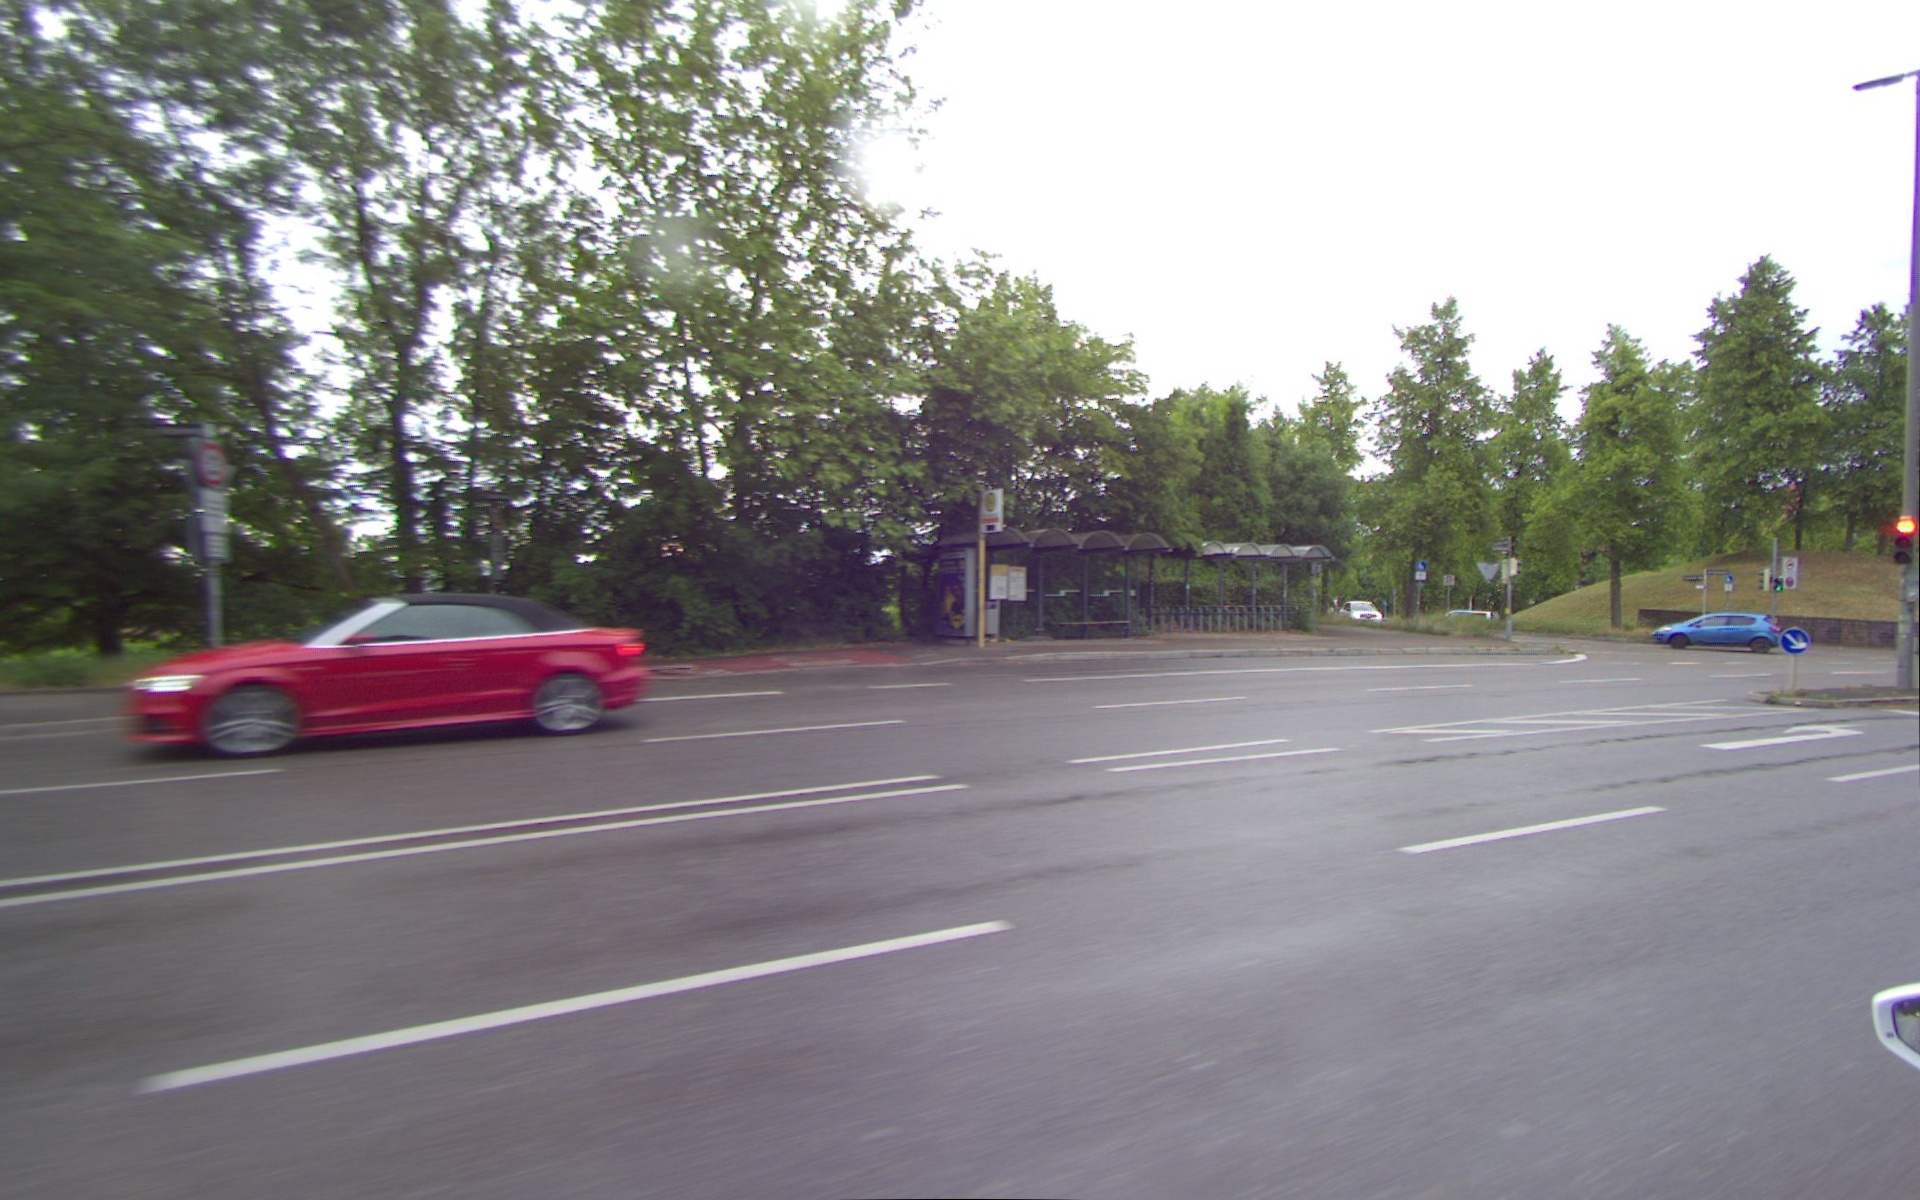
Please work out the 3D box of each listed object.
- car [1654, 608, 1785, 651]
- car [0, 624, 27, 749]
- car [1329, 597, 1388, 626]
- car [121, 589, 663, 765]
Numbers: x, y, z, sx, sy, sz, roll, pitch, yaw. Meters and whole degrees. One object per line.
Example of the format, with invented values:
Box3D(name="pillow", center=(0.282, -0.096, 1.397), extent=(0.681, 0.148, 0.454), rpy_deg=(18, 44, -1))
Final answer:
Box3D(name="car", center=(29.498, 1.115, 39.168), extent=(3.869, 1.510, 1.995), rpy_deg=(1, 1, 33))
Box3D(name="car", center=(-17.557, 1.536, 14.831), extent=(5.069, 1.971, 2.105), rpy_deg=(-4, 0, -11))
Box3D(name="car", center=(22.573, 0.622, 57.028), extent=(1.728, 1.498, 3.696), rpy_deg=(3, 1, -2))
Box3D(name="car", center=(-5.390, 0.609, 9.963), extent=(4.341, 1.392, 1.863), rpy_deg=(0, 1, -36))
